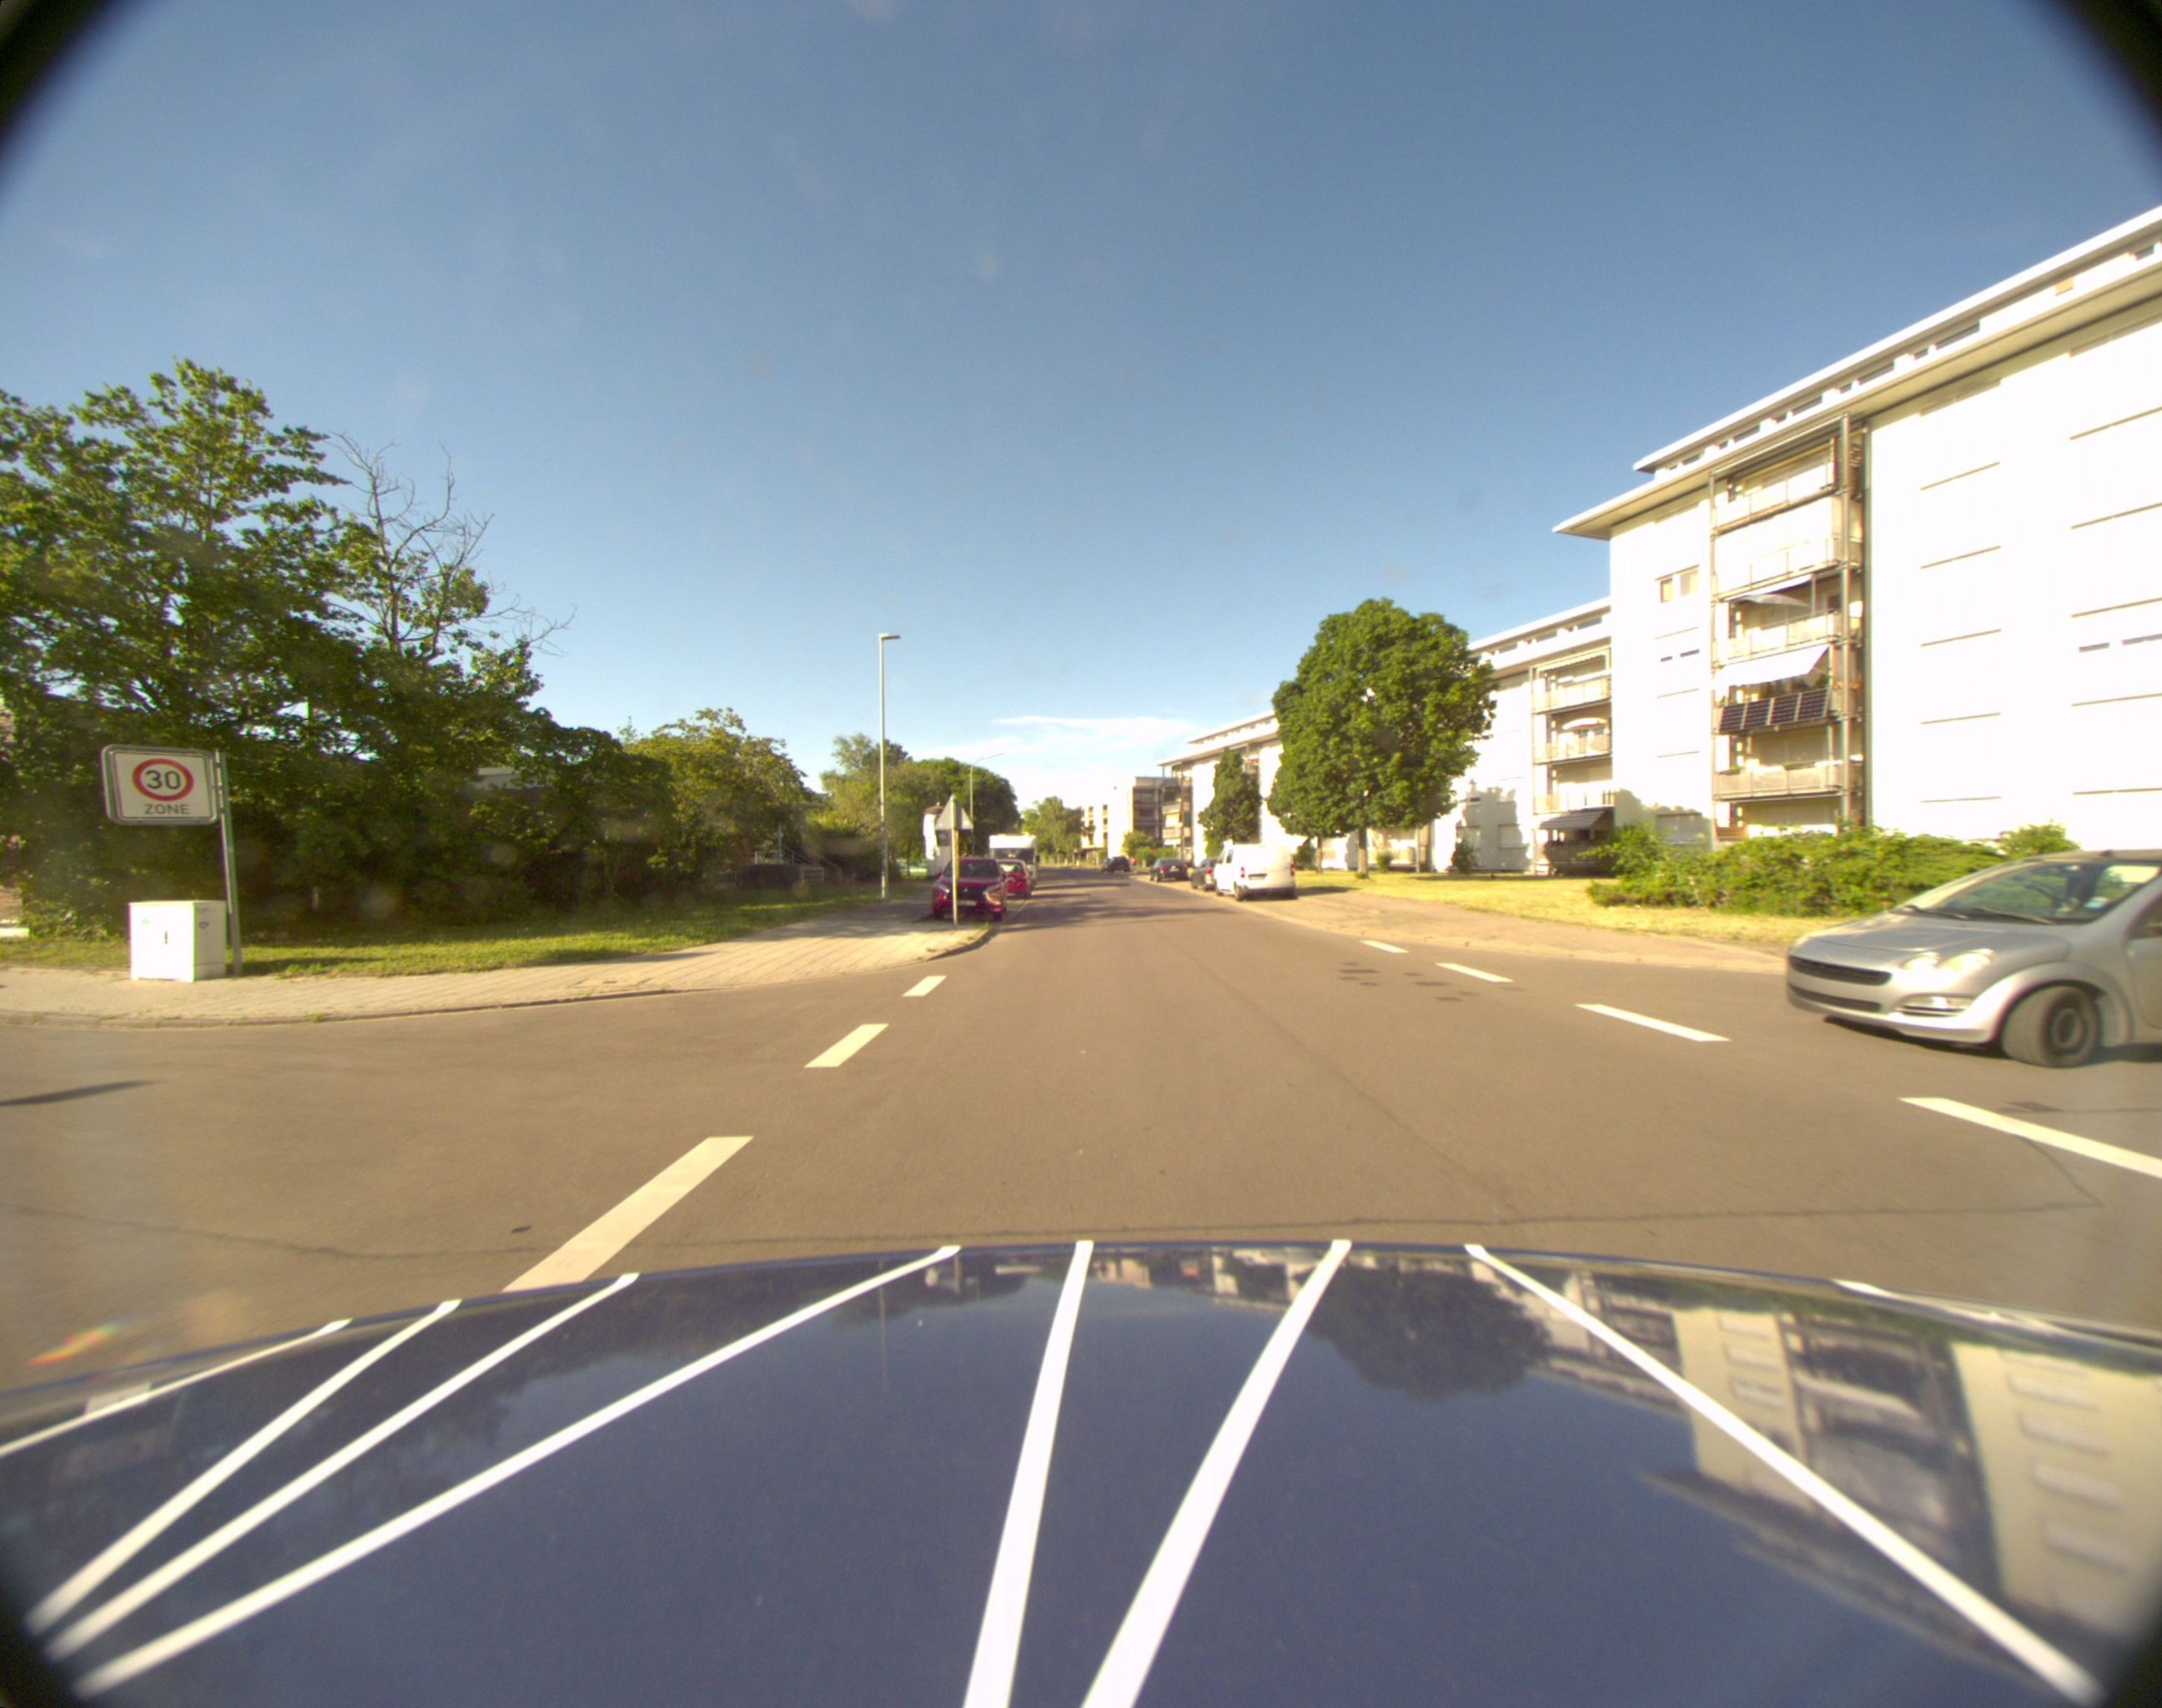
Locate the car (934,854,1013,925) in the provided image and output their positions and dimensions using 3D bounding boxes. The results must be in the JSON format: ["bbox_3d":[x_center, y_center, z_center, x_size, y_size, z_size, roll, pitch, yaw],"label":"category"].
[{"bbox_3d":[-2.876,0.884,21.185,1.780,1.670,4.643,2,0,-3],"label":"car"}]

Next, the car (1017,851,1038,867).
[{"bbox_3d":[-5.804,0.504,82.467,2.000,1.631,4.533,1,0,-7],"label":"car"}]

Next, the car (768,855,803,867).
[{"bbox_3d":[-39.060,0.924,100.634,3.877,1.602,1.999,-1,0,-5],"label":"car"}]

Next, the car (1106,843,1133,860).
[{"bbox_3d":[3.784,-0.253,74.885,1.920,1.594,4.809,-1,1,-6],"label":"car"}]

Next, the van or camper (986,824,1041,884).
[{"bbox_3d":[-3.371,-0.014,39.221,2.503,2.828,6.849,0,0,-3],"label":"van or camper"}]

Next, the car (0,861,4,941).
[{"bbox_3d":[-26.471,1.121,15.980,1.696,1.858,4.004,-1,0,14],"label":"car"}]

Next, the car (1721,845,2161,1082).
[{"bbox_3d":[7.600,0.679,5.609,3.935,1.452,1.999,-1,1,8],"label":"car"}]

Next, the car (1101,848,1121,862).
[{"bbox_3d":[3.197,0.103,81.152,1.651,1.458,4.328,-2,0,-4],"label":"car"}]

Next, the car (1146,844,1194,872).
[{"bbox_3d":[5.347,0.241,46.148,2.040,1.484,5.254,-3,0,-2],"label":"car"}]

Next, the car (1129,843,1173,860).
[{"bbox_3d":[10.022,-0.349,109.194,5.924,2.414,2.212,0,-1,-8],"label":"car"}]

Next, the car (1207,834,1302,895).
[{"bbox_3d":[5.972,0.299,26.841,2.019,1.875,5.189,-3,1,-1],"label":"car"}]

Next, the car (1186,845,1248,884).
[{"bbox_3d":[5.881,0.417,33.338,1.838,1.509,4.220,-3,1,-1],"label":"car"}]

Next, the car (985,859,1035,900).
[{"bbox_3d":[-2.765,0.976,30.402,1.696,1.465,3.999,0,0,-1],"label":"car"}]

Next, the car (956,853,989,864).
[{"bbox_3d":[-15.250,0.666,106.792,4.437,1.329,1.746,-2,-1,-3],"label":"car"}]
